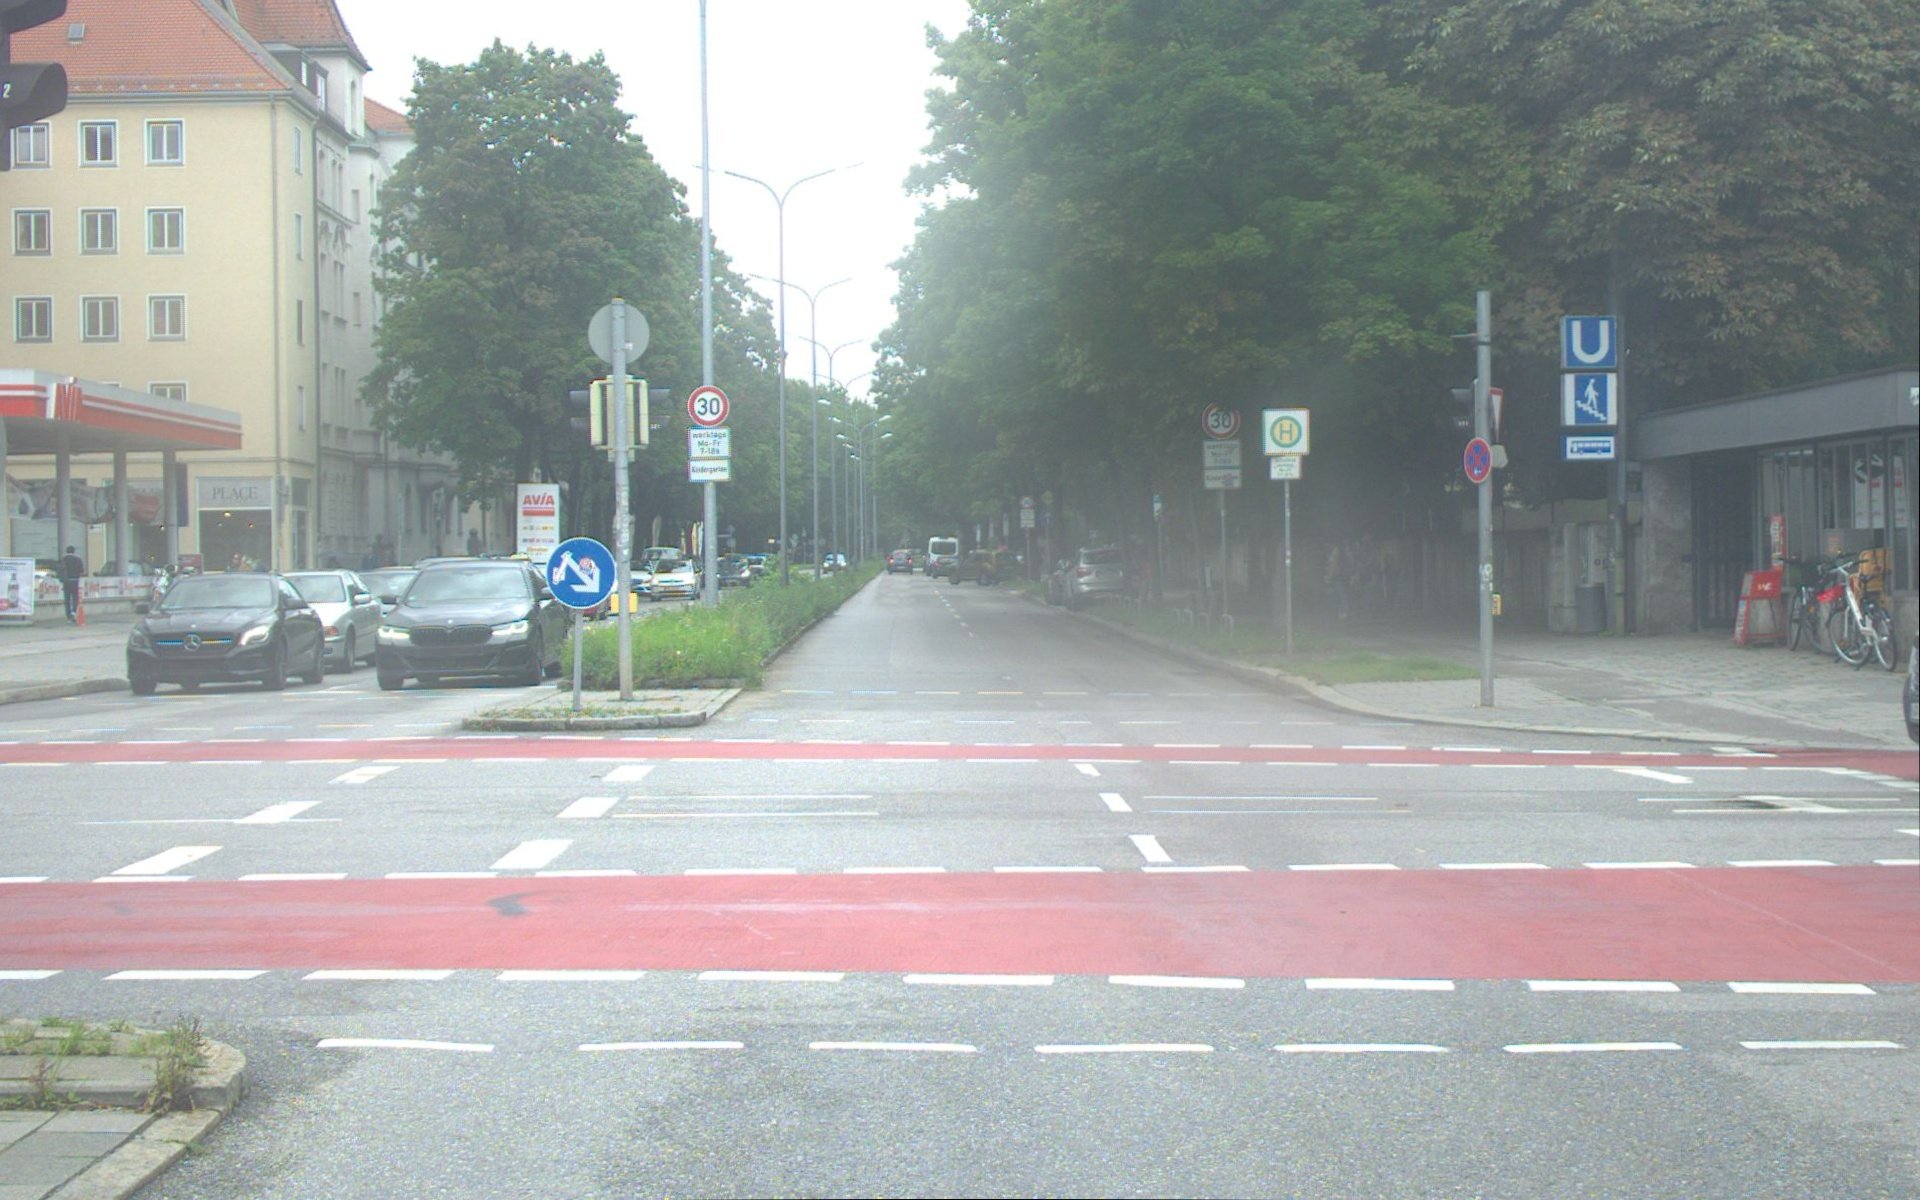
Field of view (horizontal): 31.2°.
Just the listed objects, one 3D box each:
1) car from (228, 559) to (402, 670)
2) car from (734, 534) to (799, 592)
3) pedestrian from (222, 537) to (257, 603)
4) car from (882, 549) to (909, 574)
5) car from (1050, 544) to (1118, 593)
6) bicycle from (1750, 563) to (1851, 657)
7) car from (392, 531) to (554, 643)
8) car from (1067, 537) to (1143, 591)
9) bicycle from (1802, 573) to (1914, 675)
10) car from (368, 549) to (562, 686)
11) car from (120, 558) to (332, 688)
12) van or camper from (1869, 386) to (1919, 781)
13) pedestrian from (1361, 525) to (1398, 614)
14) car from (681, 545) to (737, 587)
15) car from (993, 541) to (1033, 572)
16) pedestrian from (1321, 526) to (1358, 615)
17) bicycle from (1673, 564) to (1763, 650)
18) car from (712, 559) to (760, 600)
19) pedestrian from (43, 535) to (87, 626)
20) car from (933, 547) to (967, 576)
[{"bbox_3d":[-9.015,0.174,48.329,1.759,1.455,4.000,-1,1,-1],"label":"car"},{"bbox_3d":[-4.810,-0.941,85.620,1.468,1.394,3.700,-1,1,-1],"label":"car"},{"bbox_3d":[-17.766,-0.741,84.813,0.696,1.632,0.738,-1,1,-1],"label":"pedestrian"},{"bbox_3d":[-4.482,-2.711,239.281,1.857,1.678,4.000,-1,1,-1],"label":"car"},{"bbox_3d":[3.574,-0.925,99.713,1.743,1.358,3.807,-1,1,-1],"label":"car"},{"bbox_3d":[9.475,0.102,38.827,0.556,1.011,2.016,-1,1,-3],"label":"bicycle"},{"bbox_3d":[-6.781,-0.217,48.205,1.759,1.488,4.000,-1,1,-1],"label":"car"},{"bbox_3d":[3.770,-0.955,89.695,1.743,1.358,3.807,-1,1,-1],"label":"car"},{"bbox_3d":[9.410,0.238,36.092,0.556,1.011,2.016,-1,1,-3],"label":"bicycle"},{"bbox_3d":[-5.755,0.166,40.388,1.759,1.488,4.000,-1,1,-1],"label":"car"},{"bbox_3d":[-8.787,0.241,41.464,1.759,1.455,4.000,-1,1,-1],"label":"car"},{"bbox_3d":[8.786,-0.130,21.746,5.553,2.461,2.067,0,1,4],"label":"van or camper"},{"bbox_3d":[7.984,-0.581,65.464,0.678,1.677,0.682,0,1,5],"label":"pedestrian"},{"bbox_3d":[-8.981,-1.228,123.117,1.759,1.455,4.000,-1,1,-1],"label":"car"},{"bbox_3d":[2.485,-2.063,161.416,1.743,1.422,3.899,-1,1,-1],"label":"car"},{"bbox_3d":[7.225,-0.560,65.401,0.678,1.677,0.682,0,1,5],"label":"pedestrian"},{"bbox_3d":[9.245,0.074,41.972,0.556,1.011,2.016,-1,1,-3],"label":"bicycle"},{"bbox_3d":[-10.358,-0.949,159.061,1.952,1.817,4.000,0,1,-1],"label":"car"},{"bbox_3d":[-20.096,-0.434,77.223,0.730,2.007,0.834,1,0,-1],"label":"pedestrian"},{"bbox_3d":[-0.585,-2.256,202.152,1.922,1.678,4.000,-1,1,-1],"label":"car"}]
